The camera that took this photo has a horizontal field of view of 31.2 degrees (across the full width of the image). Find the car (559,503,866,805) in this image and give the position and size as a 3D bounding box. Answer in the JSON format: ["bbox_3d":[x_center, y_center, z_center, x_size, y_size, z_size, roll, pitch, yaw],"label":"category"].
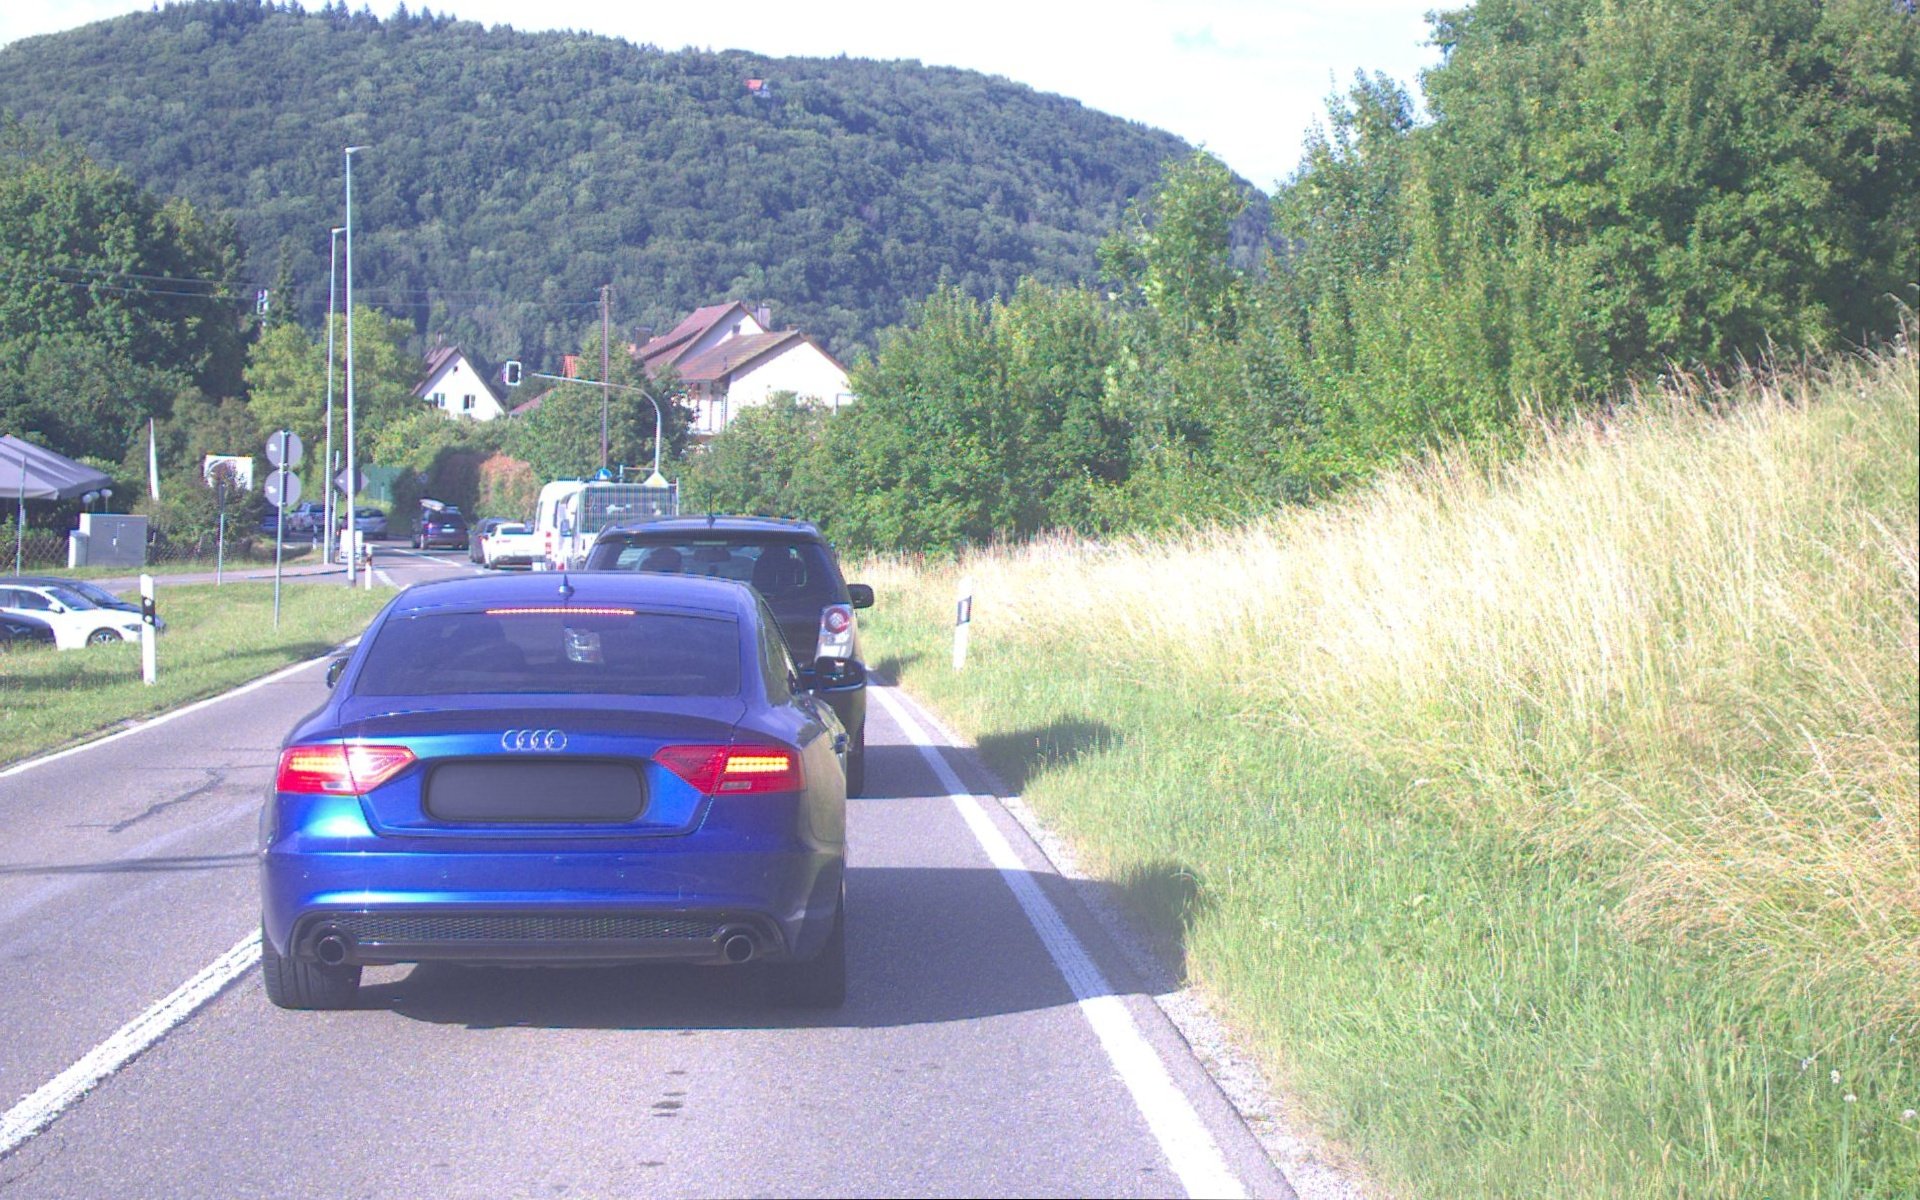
[{"bbox_3d":[-1.480,0.271,20.666,1.645,1.619,3.517,2,1,-4],"label":"car"}]

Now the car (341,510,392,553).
[{"bbox_3d":[-27.044,-3.104,156.603,1.676,1.918,4.001,-1,1,-18],"label":"car"}]

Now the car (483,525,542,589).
[{"bbox_3d":[-13.855,-1.325,106.276,1.659,1.918,4.001,-1,1,-9],"label":"car"}]

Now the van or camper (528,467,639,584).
[{"bbox_3d":[-9.111,-1.767,82.729,2.280,2.704,5.769,-1,1,-10],"label":"van or camper"}]

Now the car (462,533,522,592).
[{"bbox_3d":[-15.613,-1.259,114.598,1.659,1.918,4.001,-1,1,-12],"label":"car"}]

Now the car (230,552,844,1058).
[{"bbox_3d":[-1.316,0.566,11.618,1.742,1.445,3.517,0,1,-3],"label":"car"}]

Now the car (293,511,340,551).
[{"bbox_3d":[-31.944,-3.402,170.549,1.676,1.918,4.001,-1,1,-19],"label":"car"}]

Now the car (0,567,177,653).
[{"bbox_3d":[-17.690,0.199,67.795,4.037,1.655,1.655,0,1,9],"label":"car"}]

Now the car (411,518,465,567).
[{"bbox_3d":[-20.987,-2.294,138.137,1.676,1.918,4.001,-1,1,-15],"label":"car"}]

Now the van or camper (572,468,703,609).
[{"bbox_3d":[-6.068,-1.136,64.087,2.051,2.497,5.813,-1,1,-9],"label":"van or camper"}]

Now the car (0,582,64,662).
[{"bbox_3d":[-18.584,0.412,63.328,3.713,1.434,1.509,0,1,9],"label":"car"}]
